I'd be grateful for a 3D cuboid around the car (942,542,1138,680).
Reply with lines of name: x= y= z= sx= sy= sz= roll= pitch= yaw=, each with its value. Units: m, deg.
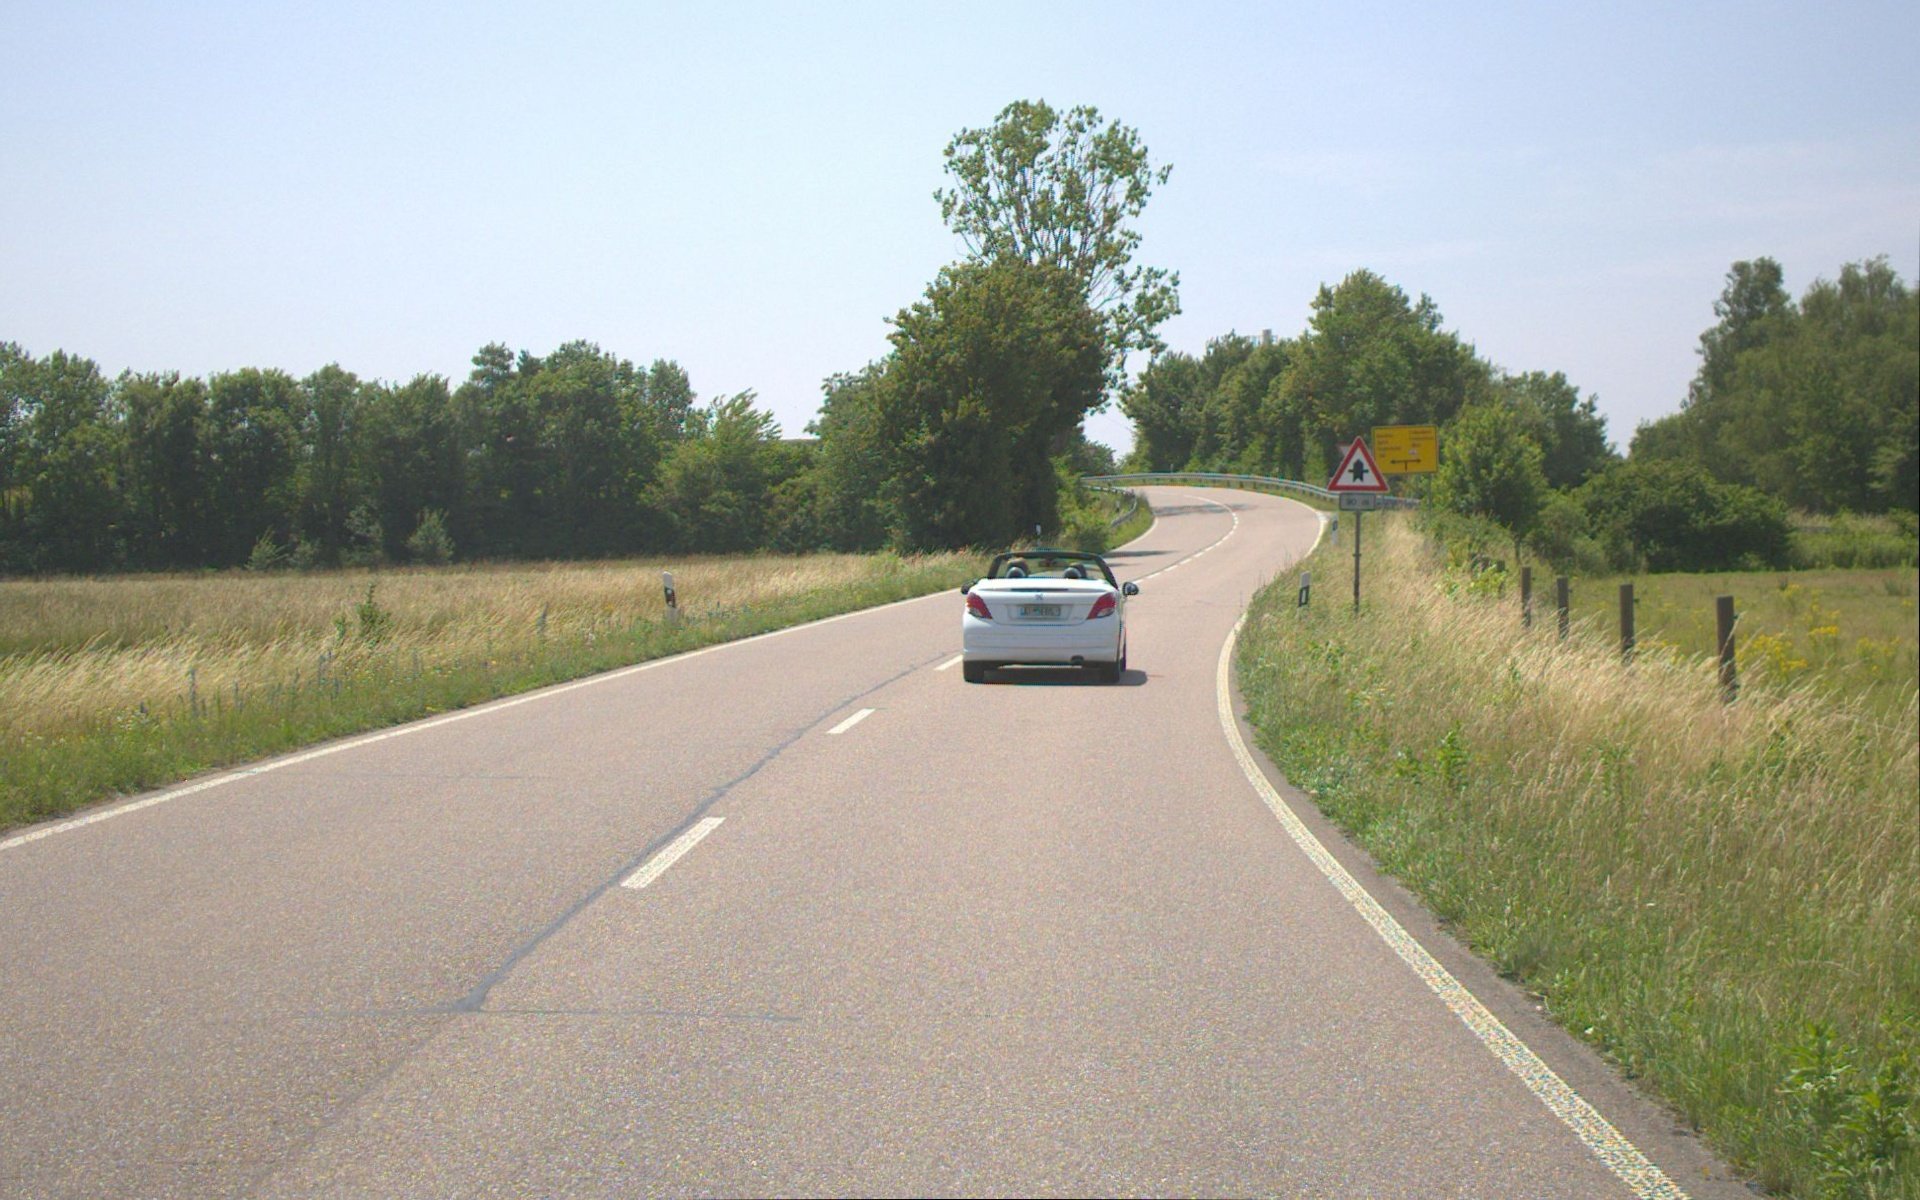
car: x=0.936 y=0.078 z=37.972 sx=1.851 sy=1.374 sz=3.999 roll=1 pitch=2 yaw=6
